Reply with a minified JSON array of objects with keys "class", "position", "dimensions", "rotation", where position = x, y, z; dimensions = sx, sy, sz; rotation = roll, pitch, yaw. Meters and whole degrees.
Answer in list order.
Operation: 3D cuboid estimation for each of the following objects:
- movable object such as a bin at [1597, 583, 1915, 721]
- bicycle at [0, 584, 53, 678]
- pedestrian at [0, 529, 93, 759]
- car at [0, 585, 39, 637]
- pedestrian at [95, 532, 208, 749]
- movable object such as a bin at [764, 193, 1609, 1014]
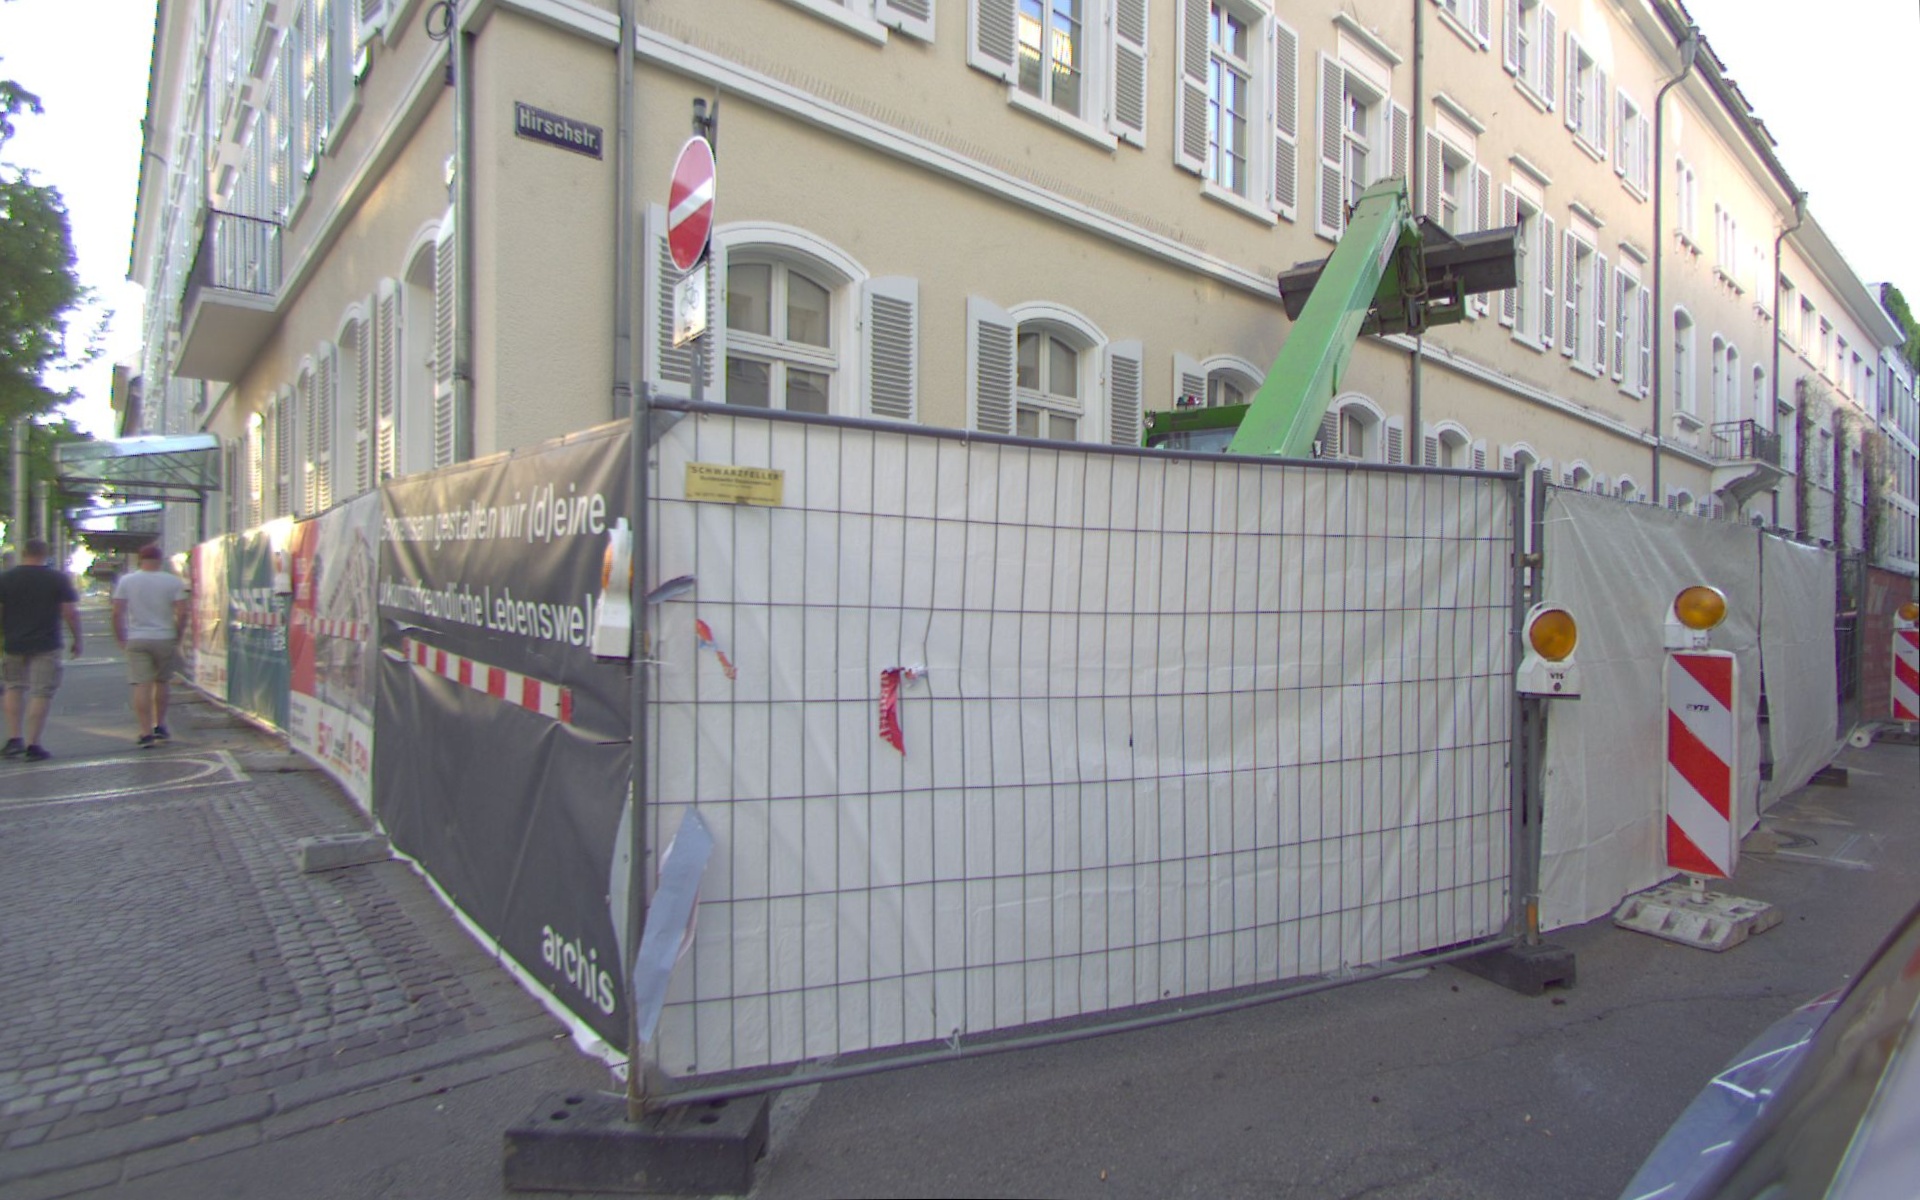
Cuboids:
[{"class":"movable object such as a bin","position":[12.894,0.684,16.114],"dimensions":[7.169,1.686,2.894],"rotation":[1,0,-43]},{"class":"bicycle","position":[-16.686,0.521,18.049],"dimensions":[0.691,1.570,2.180],"rotation":[-2,1,-41]},{"class":"pedestrian","position":[-8.043,0.350,8.828],"dimensions":[0.668,1.908,0.768],"rotation":[-2,2,-40]},{"class":"car","position":[-34.200,0.351,36.044],"dimensions":[1.965,1.759,4.098],"rotation":[0,1,-41]},{"class":"pedestrian","position":[-7.554,0.332,9.458],"dimensions":[0.746,1.908,0.879],"rotation":[-2,2,-40]},{"class":"movable object such as a bin","position":[1.829,0.003,6.446],"dimensions":[5.472,2.909,2.638],"rotation":[1,1,-44]}]
